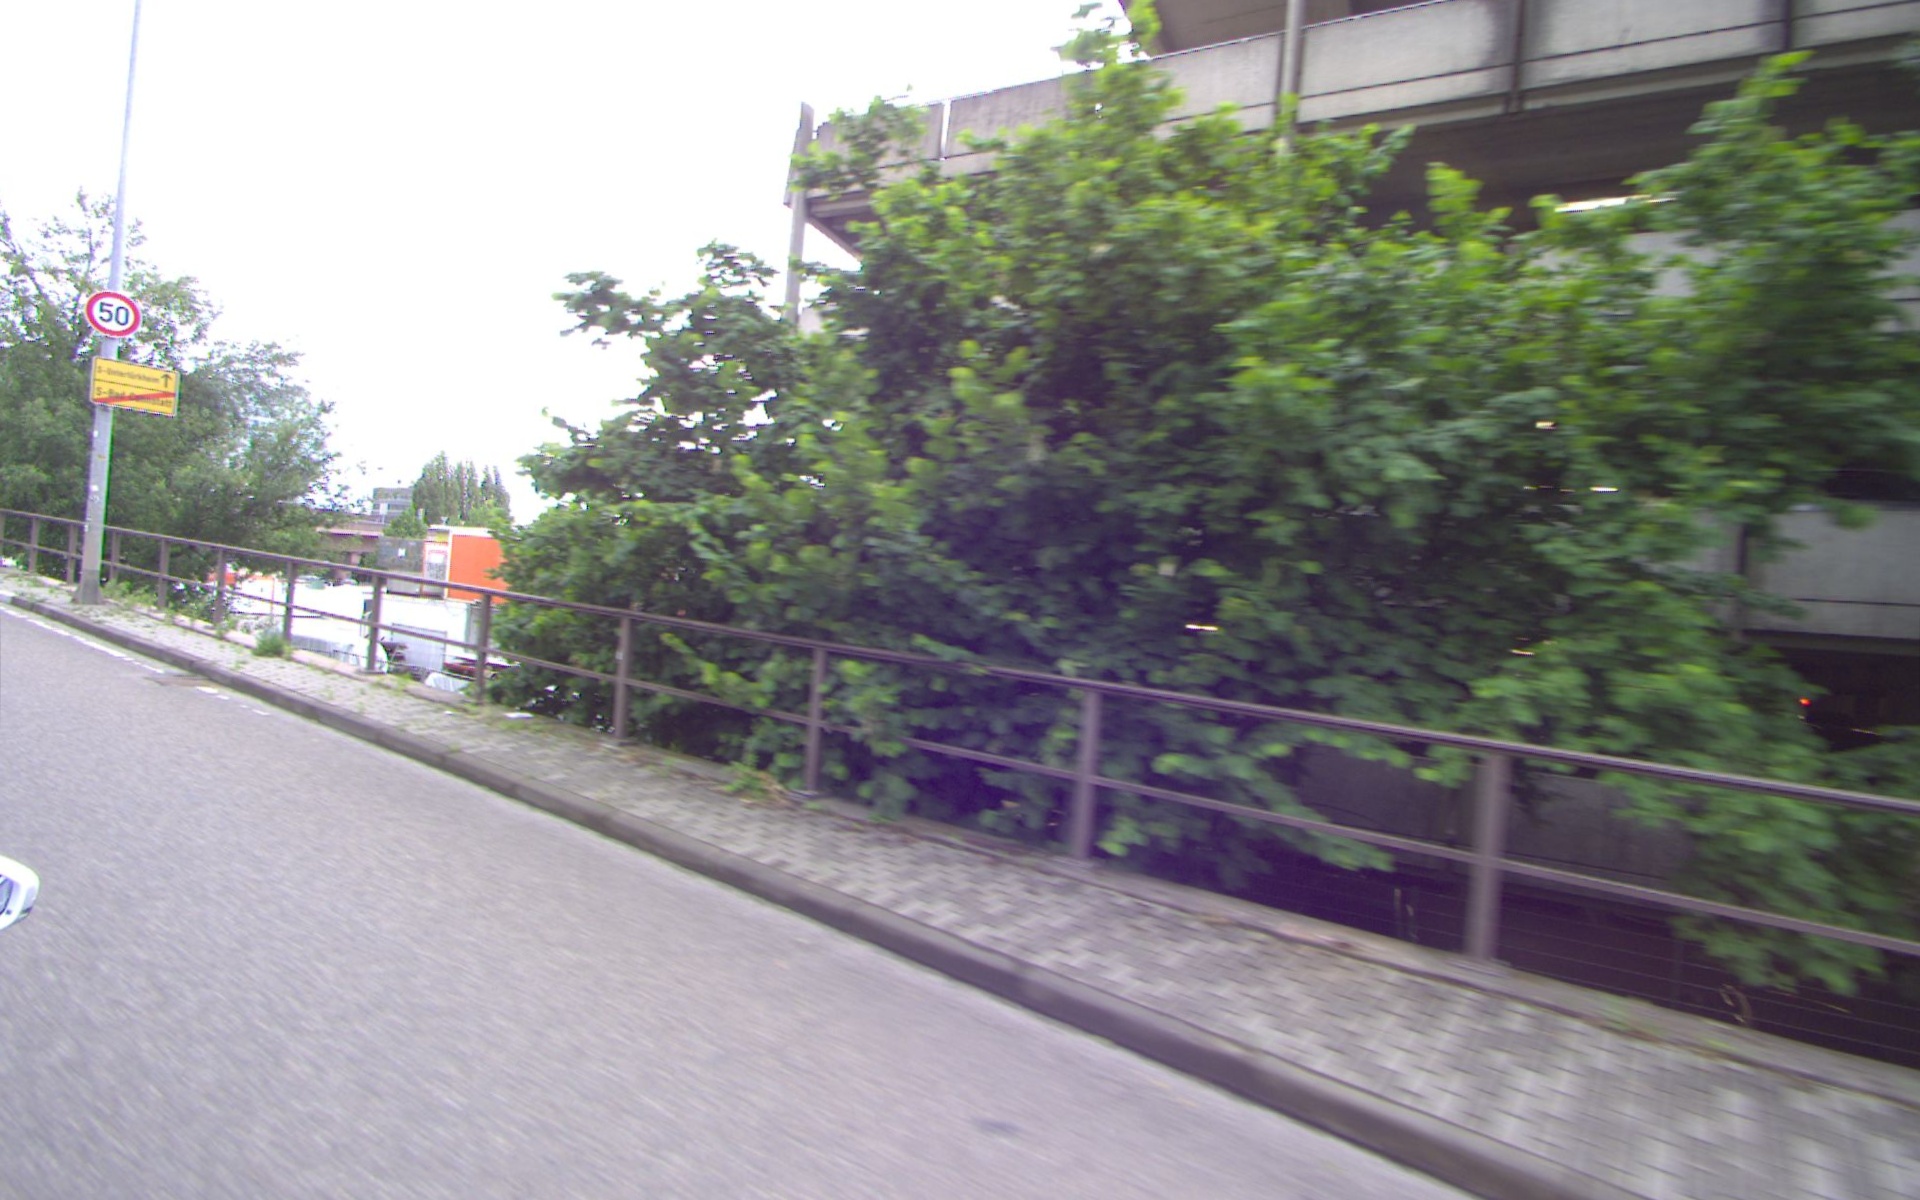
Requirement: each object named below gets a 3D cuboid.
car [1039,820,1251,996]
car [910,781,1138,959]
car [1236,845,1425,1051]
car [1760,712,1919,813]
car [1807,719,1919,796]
[{"bbox_3d":[3.100,4.643,15.894,1.965,1.446,4.662,4,-2,27],"label":"car"},{"bbox_3d":[1.265,4.306,16.869,1.965,1.806,4.756,5,-2,27],"label":"car"},{"bbox_3d":[5.541,4.799,14.617,1.965,1.446,4.662,4,-2,27],"label":"car"},{"bbox_3d":[17.663,3.166,20.074,1.844,1.497,3.995,4,-2,28],"label":"car"},{"bbox_3d":[22.091,3.769,24.119,1.687,1.438,3.680,7,-1,25],"label":"car"}]
